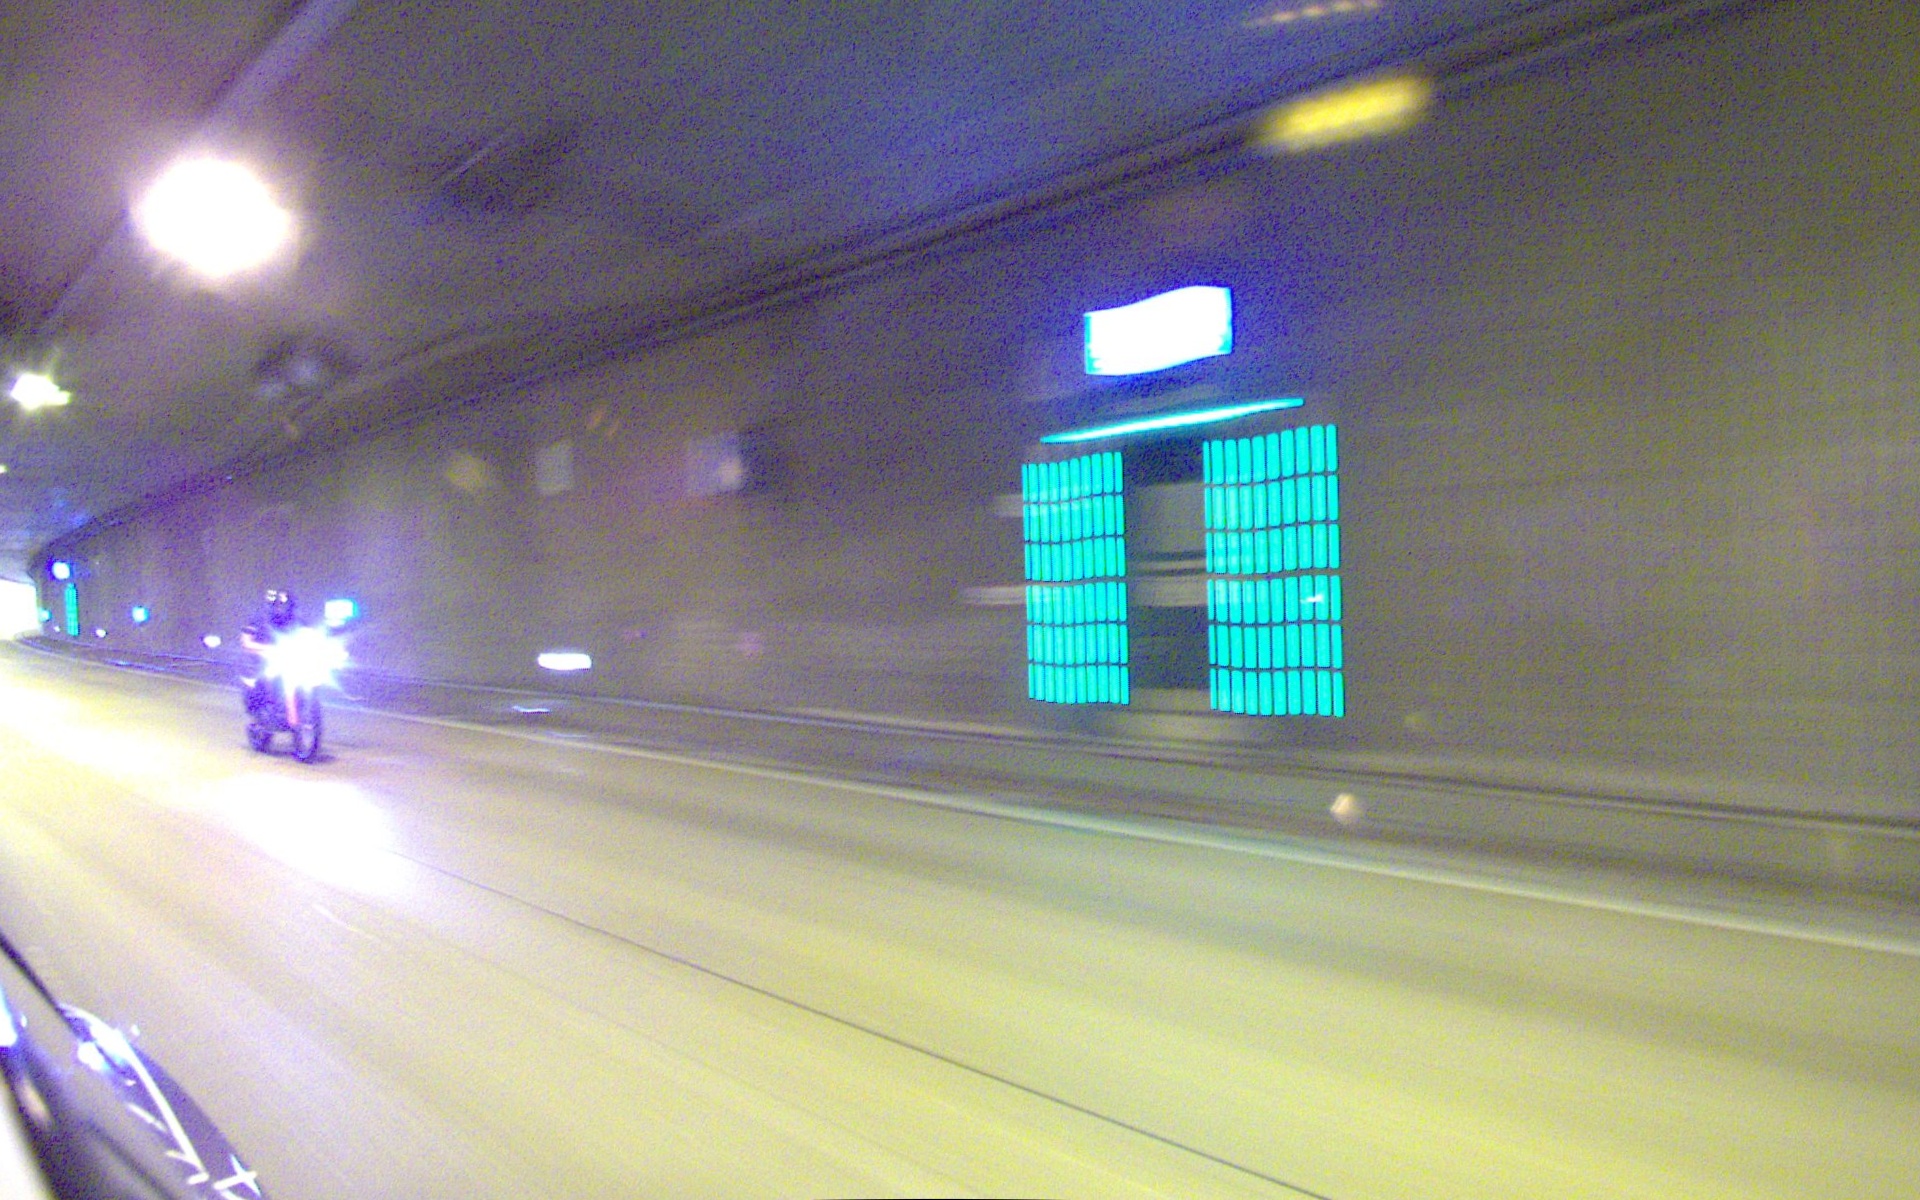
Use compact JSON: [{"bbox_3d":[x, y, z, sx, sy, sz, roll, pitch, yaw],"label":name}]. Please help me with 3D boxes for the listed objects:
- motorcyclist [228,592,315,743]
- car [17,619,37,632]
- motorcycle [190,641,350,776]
[{"bbox_3d":[-7.188,0.672,10.558,0.619,1.500,0.891,0,-1,-43],"label":"motorcyclist"},{"bbox_3d":[-148.842,4.053,161.404,1.968,1.812,4.008,-2,1,-38],"label":"car"},{"bbox_3d":[-7.247,1.052,10.573,1.040,1.166,2.430,0,-1,-43],"label":"motorcycle"}]
